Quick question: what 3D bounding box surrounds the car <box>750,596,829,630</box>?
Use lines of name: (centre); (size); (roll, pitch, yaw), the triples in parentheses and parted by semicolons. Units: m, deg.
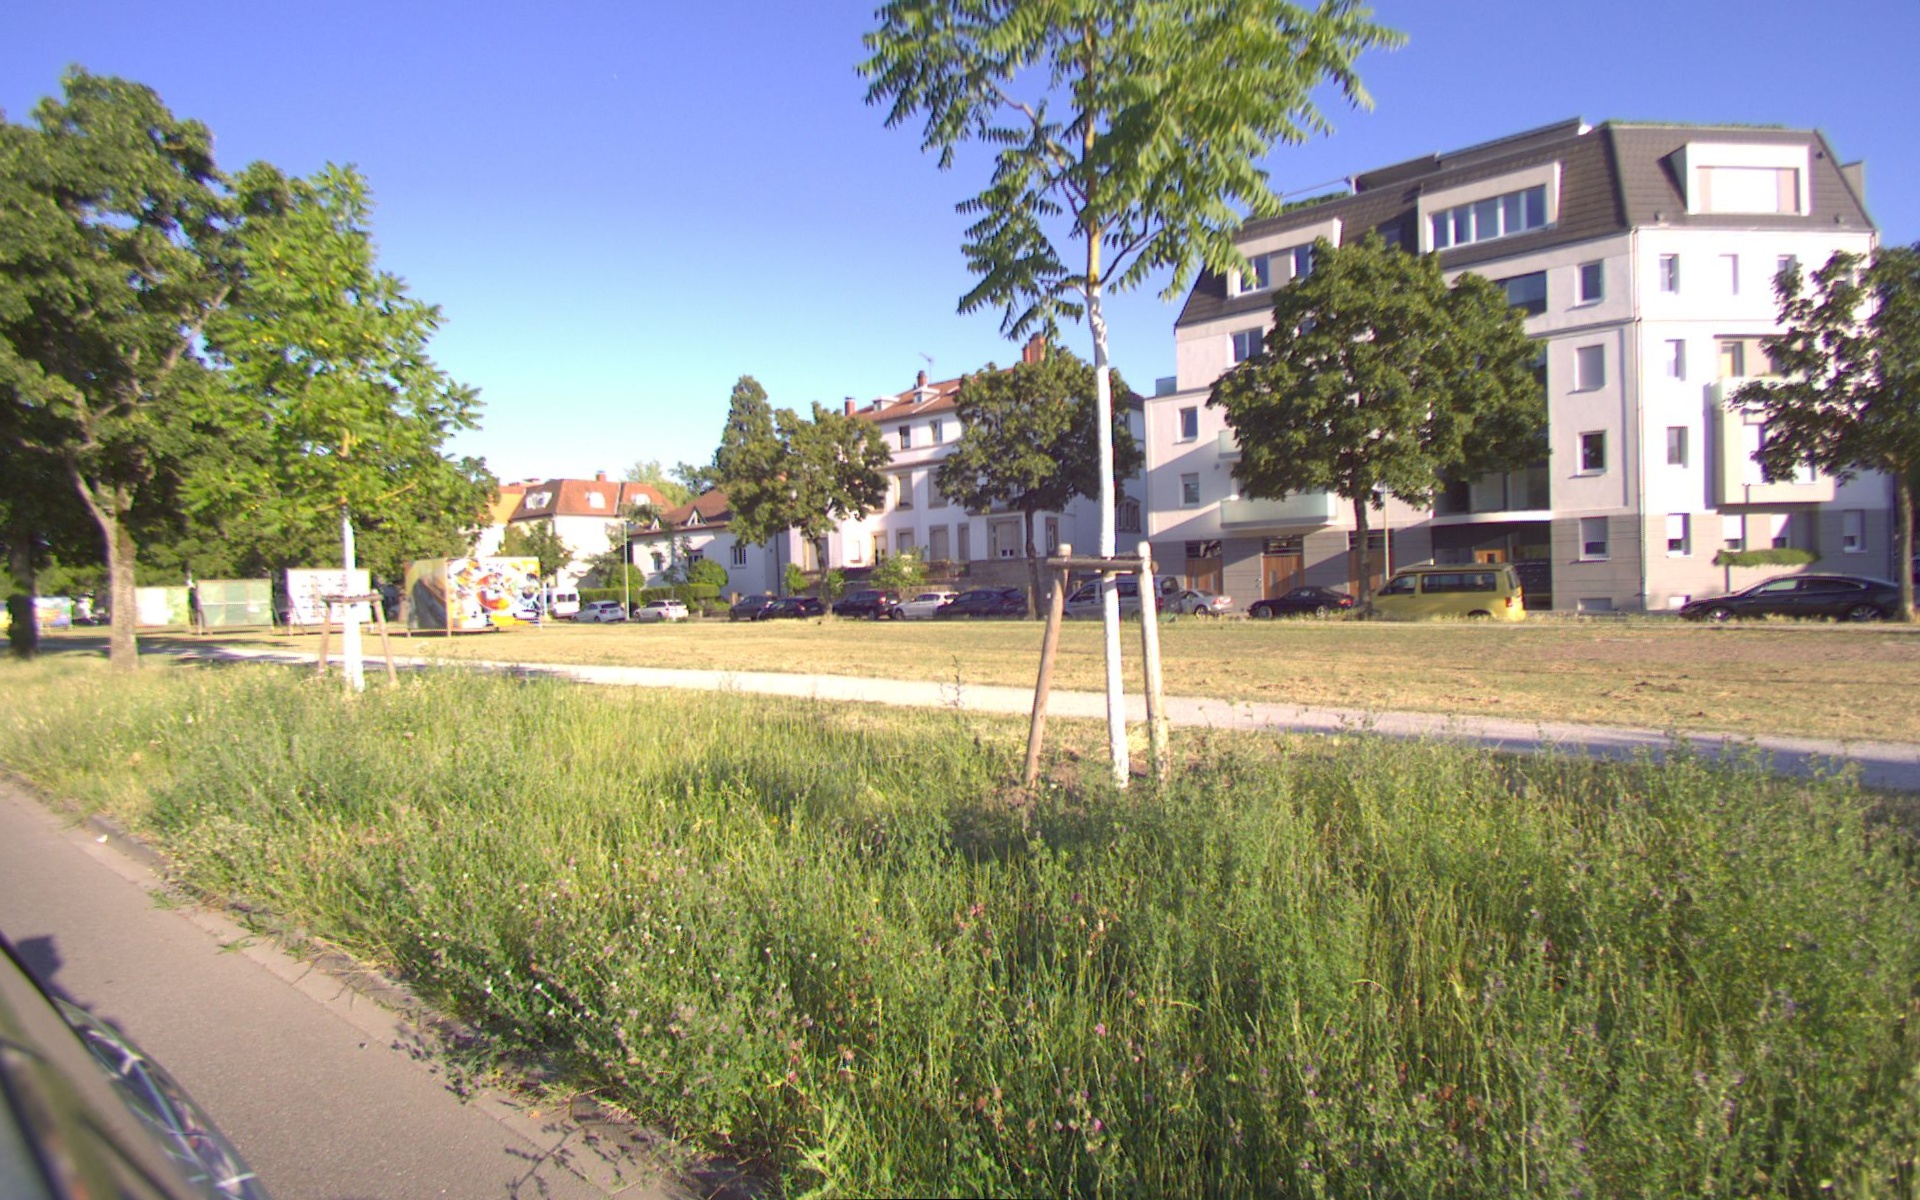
car: (-8.571, 0.664, 50.676); (3.833, 1.592, 1.802); (-1, 1, 40)

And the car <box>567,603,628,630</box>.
car: (-22.360, 1.021, 62.362); (3.833, 1.592, 1.802); (-1, 1, 40)

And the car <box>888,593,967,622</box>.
car: (-1.724, 0.408, 52.474); (4.004, 1.457, 1.621); (-1, 0, 39)

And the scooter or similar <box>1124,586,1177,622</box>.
scooter or similar: (6.110, 0.135, 32.454); (1.647, 1.124, 0.447); (-1, 1, 41)

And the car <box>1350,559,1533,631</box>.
car: (14.691, -0.125, 31.008); (4.689, 2.029, 2.006); (-1, 0, 39)

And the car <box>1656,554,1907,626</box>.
car: (20.818, -0.211, 25.867); (4.836, 1.681, 1.764); (-1, 1, 41)

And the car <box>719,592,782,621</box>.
car: (-12.619, 0.410, 60.856); (3.999, 1.674, 1.621); (-1, 1, 42)

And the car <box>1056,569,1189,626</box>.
car: (6.135, -0.081, 38.479); (4.570, 2.029, 2.052); (-1, 0, 39)

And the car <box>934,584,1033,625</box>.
car: (0.970, 0.209, 42.310); (3.833, 1.592, 1.802); (-1, 1, 40)

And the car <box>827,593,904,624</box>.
car: (-5.188, 0.479, 55.361); (4.159, 1.592, 1.802); (-1, 1, 40)

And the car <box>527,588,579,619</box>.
car: (-30.872, 0.309, 76.717); (4.131, 2.230, 1.972); (-1, 1, 43)

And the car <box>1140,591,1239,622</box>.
car: (9.648, 0.273, 42.671); (3.723, 1.249, 1.606); (-1, 0, 36)

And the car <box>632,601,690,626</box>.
car: (-20.060, 0.916, 67.897); (3.964, 1.592, 1.802); (-1, 1, 40)

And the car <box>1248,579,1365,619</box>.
car: (13.555, -0.022, 39.734); (3.997, 1.474, 1.655); (-1, 1, 41)
